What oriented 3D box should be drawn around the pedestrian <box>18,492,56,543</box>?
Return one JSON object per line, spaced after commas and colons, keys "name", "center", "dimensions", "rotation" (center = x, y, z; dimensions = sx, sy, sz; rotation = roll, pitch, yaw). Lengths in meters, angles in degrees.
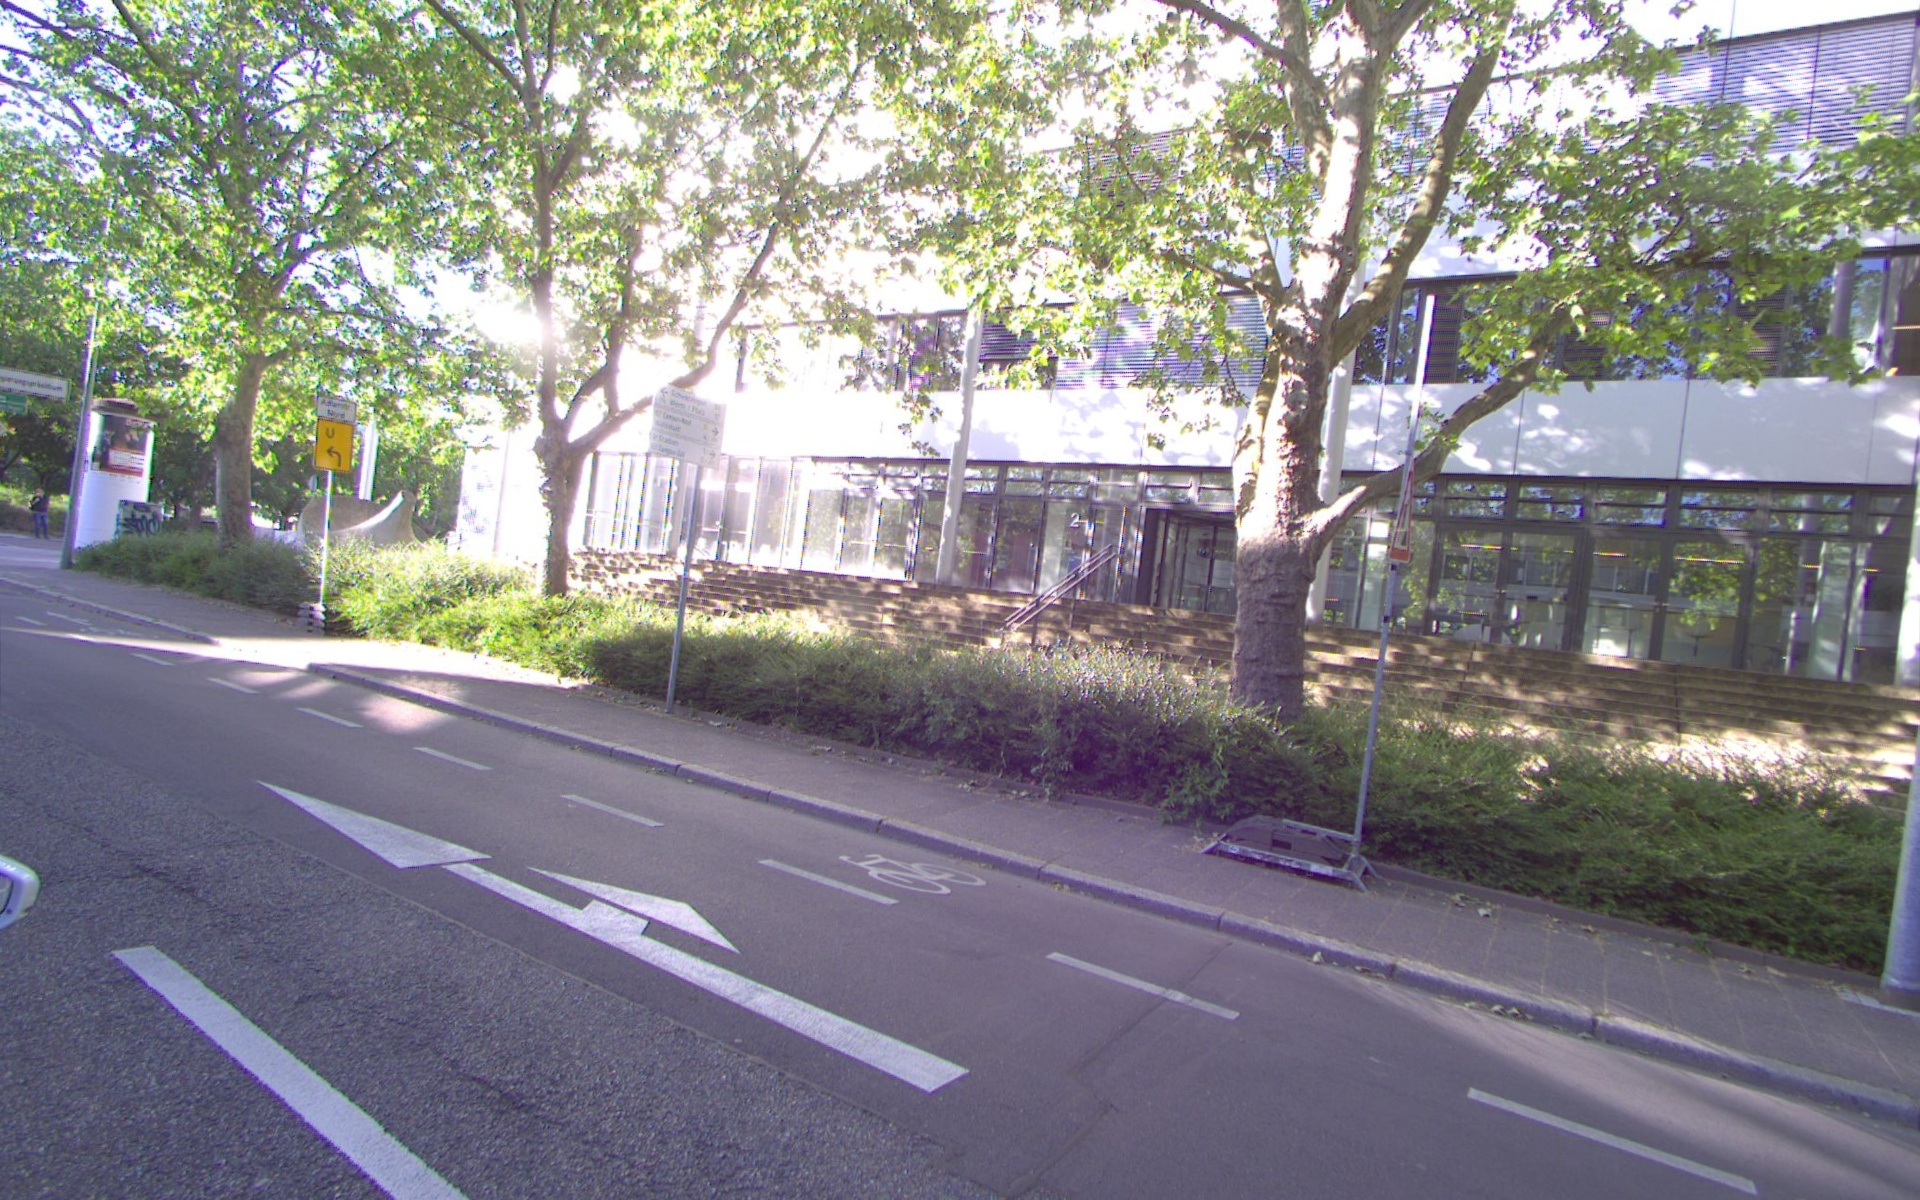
{"name": "pedestrian", "center": [-35.232, -3.134, 38.389], "dimensions": [0.730, 1.799, 0.724], "rotation": [8, -1, -28]}
